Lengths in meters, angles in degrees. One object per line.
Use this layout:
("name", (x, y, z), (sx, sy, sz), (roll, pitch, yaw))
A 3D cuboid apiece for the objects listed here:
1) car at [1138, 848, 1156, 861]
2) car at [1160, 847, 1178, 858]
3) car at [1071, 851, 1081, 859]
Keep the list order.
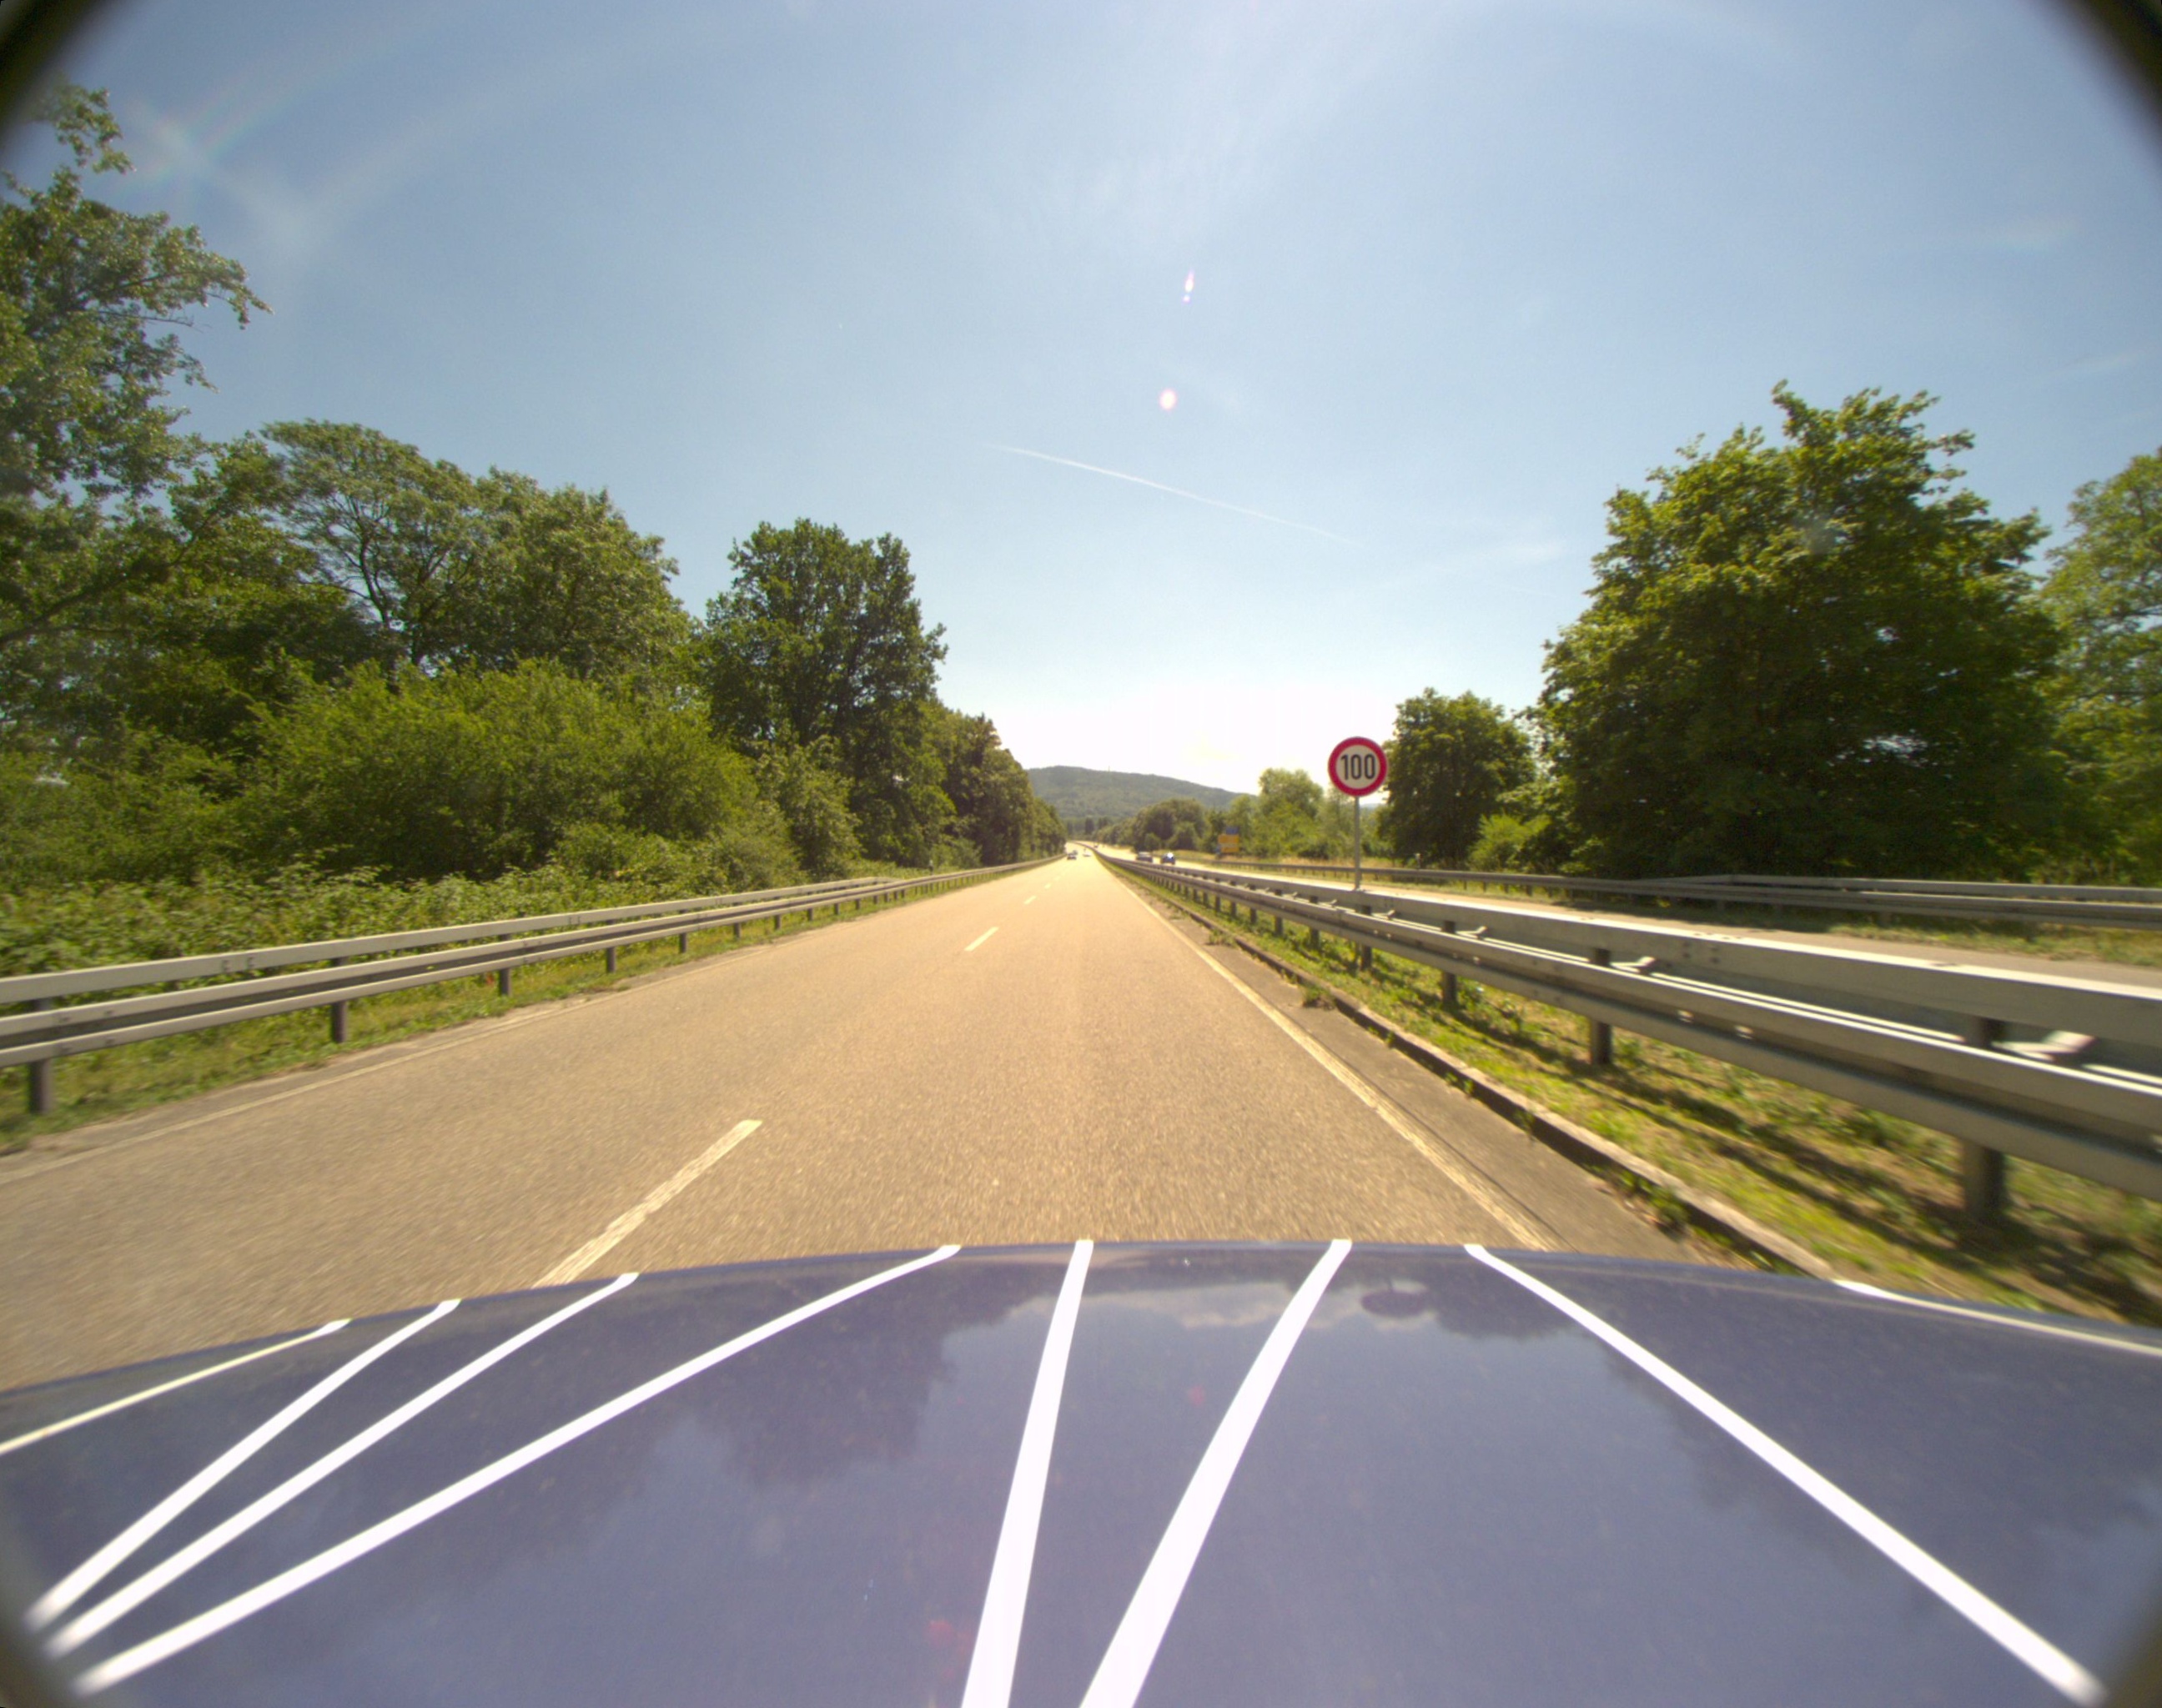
("car", (7.894, 0.049, 91.096), (1.998, 1.622, 4.553), (0, 0, 3))
("car", (11.749, -0.207, 101.491), (1.817, 1.534, 4.928), (0, 0, 1))
("car", (-0.973, 0.181, 155.852), (1.908, 1.368, 3.890), (-2, 2, 3))
